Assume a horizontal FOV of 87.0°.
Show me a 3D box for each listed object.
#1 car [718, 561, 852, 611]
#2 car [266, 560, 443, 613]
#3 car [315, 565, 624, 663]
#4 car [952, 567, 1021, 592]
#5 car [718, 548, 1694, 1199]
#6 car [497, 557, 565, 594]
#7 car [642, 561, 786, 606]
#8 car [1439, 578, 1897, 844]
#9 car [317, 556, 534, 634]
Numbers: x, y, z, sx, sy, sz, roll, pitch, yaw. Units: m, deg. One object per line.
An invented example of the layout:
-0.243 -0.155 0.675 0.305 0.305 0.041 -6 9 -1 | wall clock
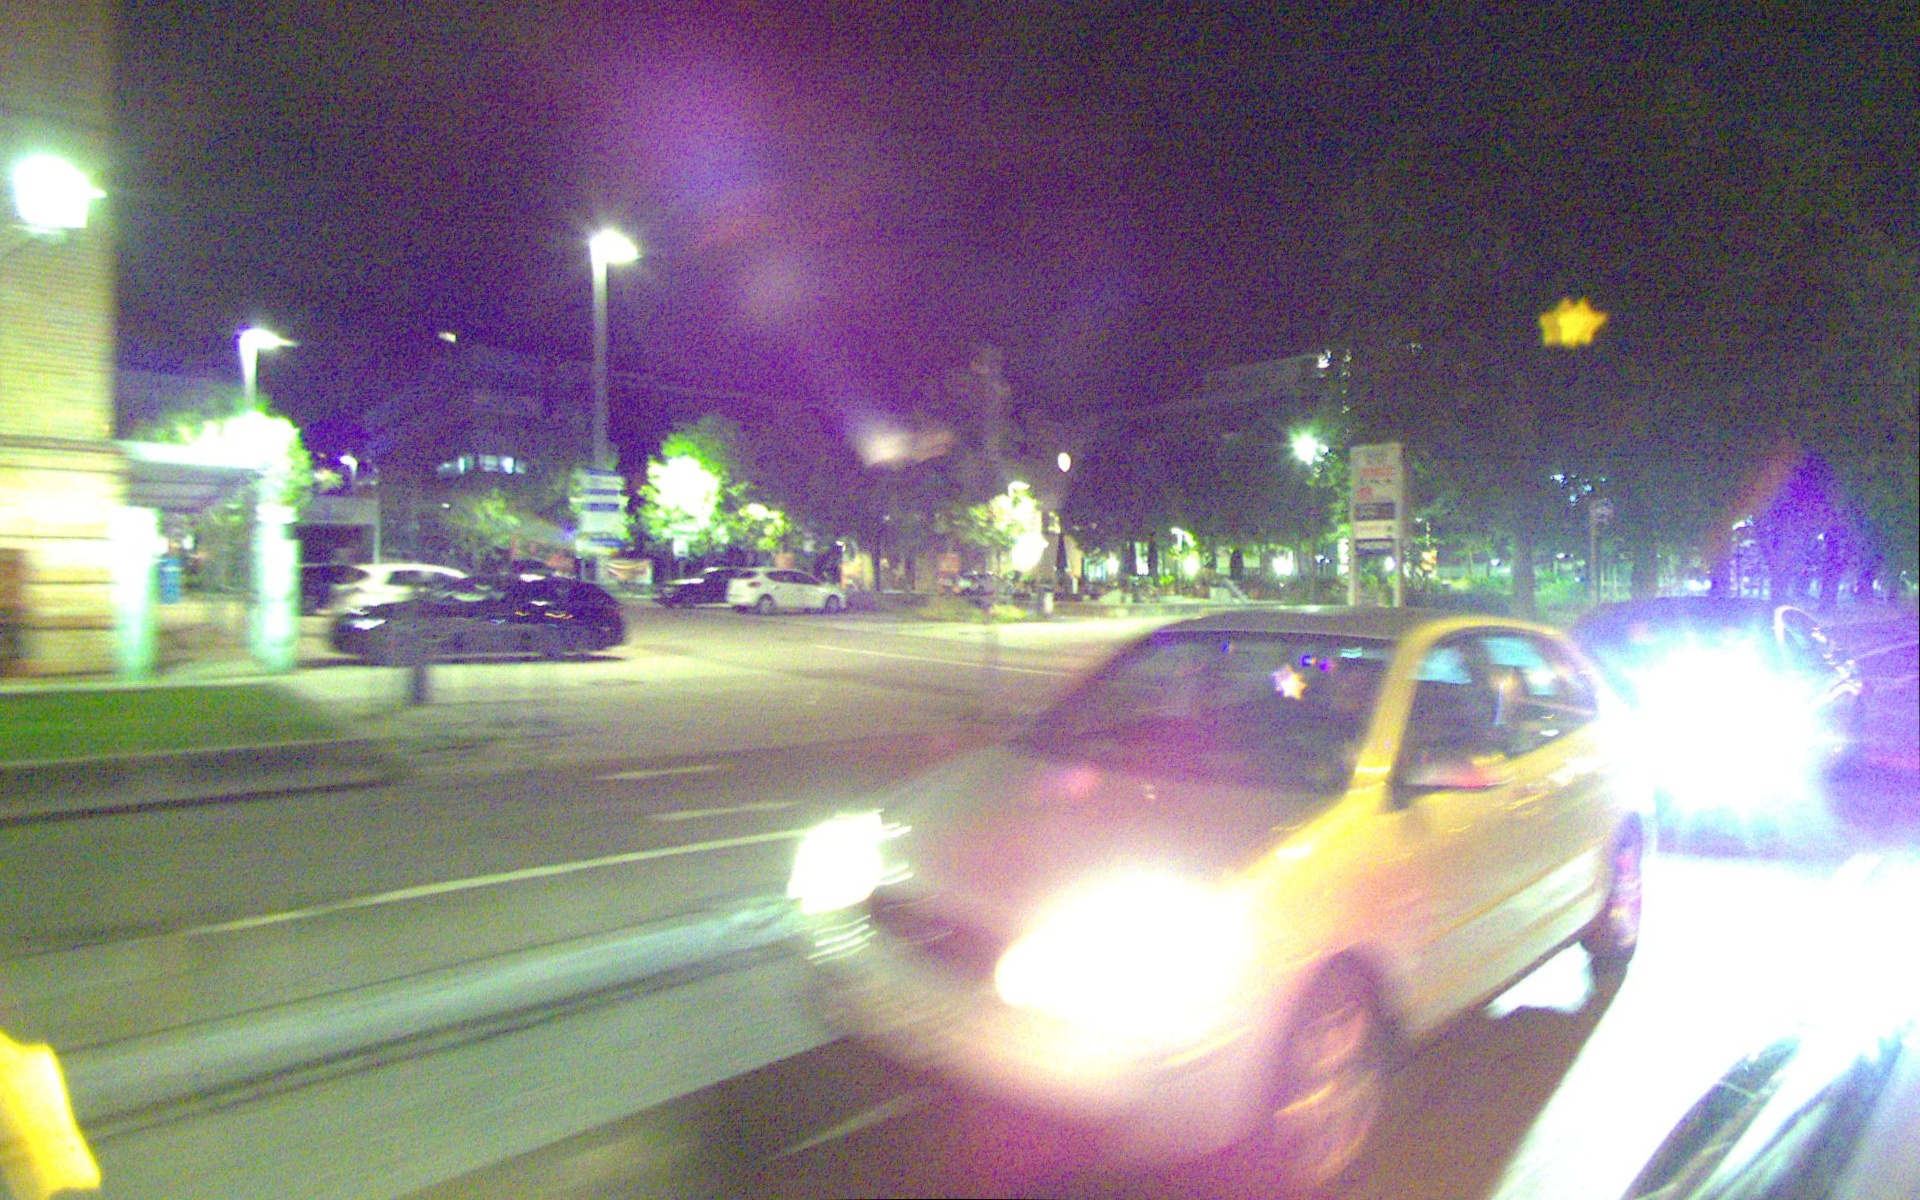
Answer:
-5.733 -0.483 33.406 4.027 1.552 1.772 -1 2 -41 | car
-17.628 -0.417 29.570 4.167 1.446 1.997 -1 2 -41 | car
-8.008 0.174 16.774 4.401 1.412 1.516 0 2 -39 | car
1.745 -1.342 65.394 4.226 1.526 1.997 -1 2 -41 | car
1.255 0.644 3.845 3.930 1.513 1.640 -1 0 -41 | car
-21.682 -1.240 51.014 2.042 1.787 4.549 0 2 -38 | car
-8.916 -0.607 36.979 4.808 1.531 1.892 -1 2 -42 | car
5.743 0.609 7.955 4.646 1.513 1.808 -1 0 -40 | car
-11.612 -0.145 22.101 3.929 1.552 1.786 -1 2 -40 | car
